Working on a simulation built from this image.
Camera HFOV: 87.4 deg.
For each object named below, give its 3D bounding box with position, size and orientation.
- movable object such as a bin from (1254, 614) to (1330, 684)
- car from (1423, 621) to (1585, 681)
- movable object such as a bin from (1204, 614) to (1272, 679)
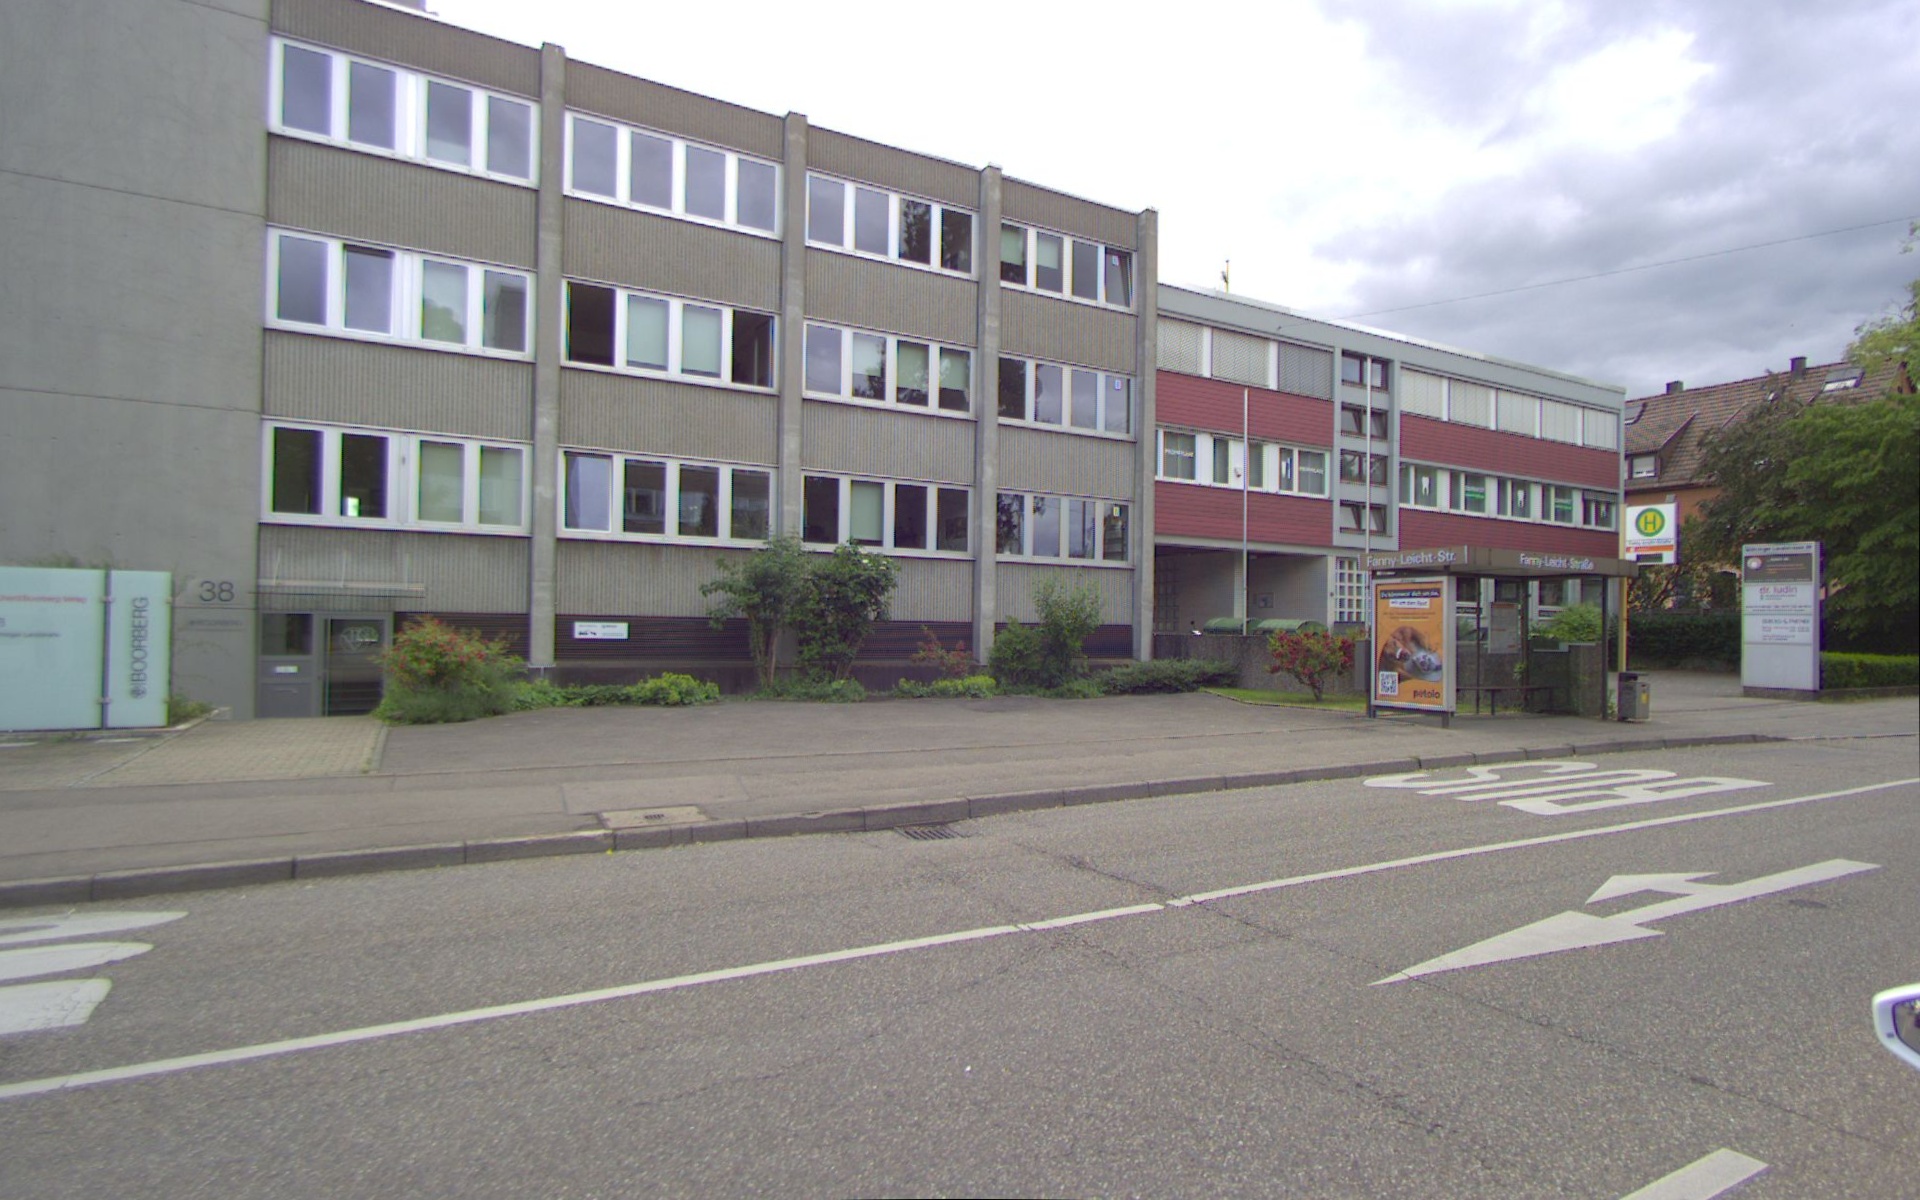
[{"bbox_3d":[7.508,1.094,22.778,0.980,1.484,1.293,2,0,-28],"label":"movable object such as a bin"},{"bbox_3d":[15.558,1.425,28.998,1.782,1.499,4.139,2,0,-14],"label":"car"},{"bbox_3d":[6.711,1.098,24.272,0.874,1.484,1.356,2,0,-28],"label":"movable object such as a bin"}]
